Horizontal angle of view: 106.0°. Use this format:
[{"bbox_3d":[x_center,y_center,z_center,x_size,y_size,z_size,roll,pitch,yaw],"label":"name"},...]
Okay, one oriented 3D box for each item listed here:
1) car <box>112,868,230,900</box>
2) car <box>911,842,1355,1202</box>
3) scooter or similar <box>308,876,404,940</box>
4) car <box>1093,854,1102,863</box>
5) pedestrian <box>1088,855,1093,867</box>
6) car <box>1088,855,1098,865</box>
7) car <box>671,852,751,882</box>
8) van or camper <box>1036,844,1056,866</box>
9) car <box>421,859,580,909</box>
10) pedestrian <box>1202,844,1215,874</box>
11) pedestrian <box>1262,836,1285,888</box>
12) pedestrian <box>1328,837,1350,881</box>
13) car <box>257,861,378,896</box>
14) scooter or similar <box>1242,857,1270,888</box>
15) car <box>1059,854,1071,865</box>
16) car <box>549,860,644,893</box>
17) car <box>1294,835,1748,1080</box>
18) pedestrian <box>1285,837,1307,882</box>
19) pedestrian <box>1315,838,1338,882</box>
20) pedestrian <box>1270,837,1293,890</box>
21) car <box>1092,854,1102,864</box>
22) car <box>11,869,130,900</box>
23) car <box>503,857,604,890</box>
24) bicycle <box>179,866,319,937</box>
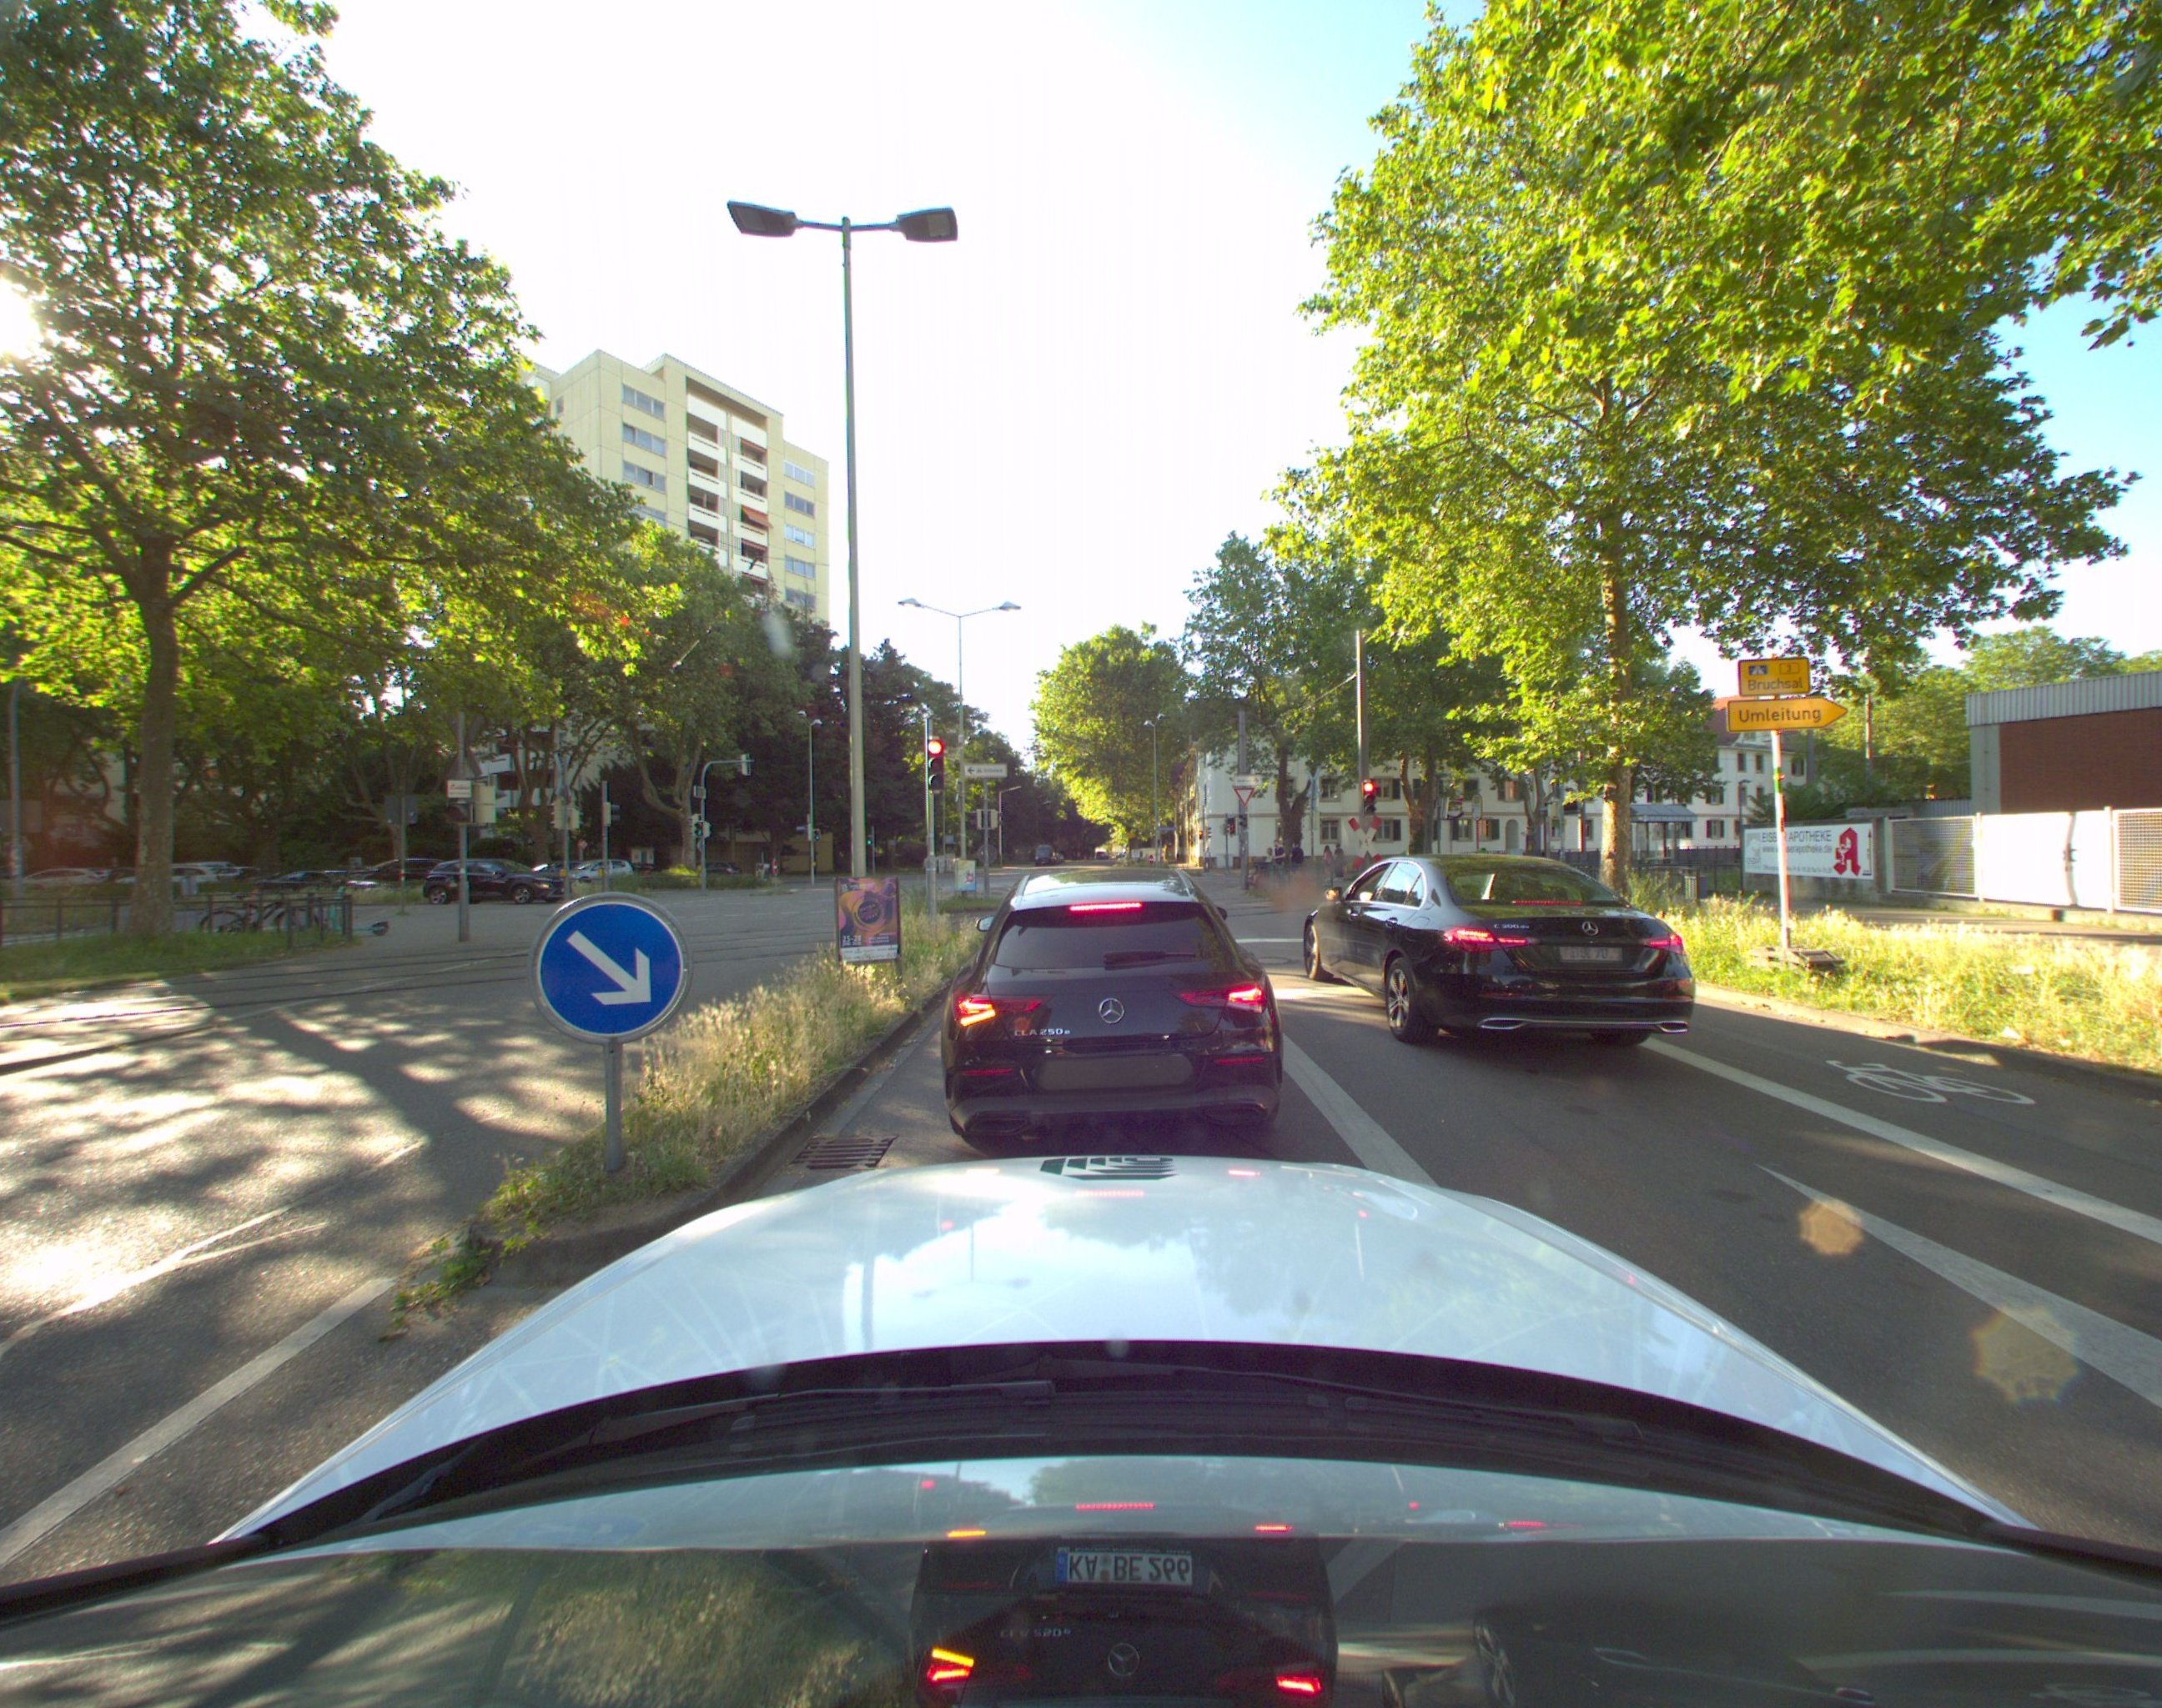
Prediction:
[{"bbox_3d":[-49.165,1.594,44.073,1.716,1.596,4.025,-1,-1,32],"label":"car"},{"bbox_3d":[0.329,0.687,5.473,1.881,1.450,4.004,0,2,3],"label":"car"},{"bbox_3d":[-15.099,1.100,16.982,0.408,1.239,1.450,-1,-1,40],"label":"scooter or similar"},{"bbox_3d":[3.248,0.901,158.622,1.727,1.765,4.020,0,-1,2],"label":"car"},{"bbox_3d":[1.538,1.052,130.199,0.704,1.918,0.837,0,-1,-8],"label":"pedestrian"},{"bbox_3d":[2.105,1.008,145.735,1.727,1.765,4.020,0,-1,2],"label":"car"},{"bbox_3d":[-22.644,0.803,49.924,3.963,1.774,2.005,-1,-1,9],"label":"car"},{"bbox_3d":[-4.282,0.130,100.047,1.986,2.541,4.653,0,-1,2],"label":"van or camper"},{"bbox_3d":[-19.424,0.969,27.410,3.981,1.596,1.735,0,-1,-5],"label":"car"},{"bbox_3d":[8.431,0.333,53.945,0.703,1.918,0.838,0,-1,-2],"label":"pedestrian"},{"bbox_3d":[7.283,0.299,30.857,0.681,1.918,0.707,0,-1,-2],"label":"pedestrian"},{"bbox_3d":[11.568,0.231,36.537,0.703,1.918,0.838,0,-1,-2],"label":"pedestrian"},{"bbox_3d":[-37.419,1.151,39.999,1.716,1.596,4.025,-1,-1,32],"label":"car"},{"bbox_3d":[6.445,0.674,30.059,0.826,1.104,0.808,0,-1,-4],"label":"scooter or similar"},{"bbox_3d":[-2.471,0.828,126.675,1.727,1.765,3.972,0,-1,2],"label":"car"},{"bbox_3d":[-24.927,1.131,42.026,1.716,1.596,3.831,-1,-1,32],"label":"car"},{"bbox_3d":[3.328,0.608,7.319,1.882,1.490,4.385,0,2,3],"label":"car"},{"bbox_3d":[9.305,0.256,35.235,0.703,1.918,0.838,0,-1,-2],"label":"pedestrian"},{"bbox_3d":[10.717,0.260,35.557,0.703,1.918,0.838,0,-1,-2],"label":"pedestrian"},{"bbox_3d":[7.407,0.345,30.081,0.680,1.918,0.707,0,-1,0],"label":"pedestrian"},{"bbox_3d":[2.917,0.980,150.540,1.727,1.765,4.020,0,-1,2],"label":"car"},{"bbox_3d":[-57.105,1.673,46.076,1.716,1.596,4.025,-1,-1,32],"label":"car"},{"bbox_3d":[-27.224,0.979,42.162,1.716,1.596,4.025,-1,-1,32],"label":"car"},{"bbox_3d":[-15.959,0.886,15.670,1.845,1.307,0.380,0,-1,-26],"label":"bicycle"}]
